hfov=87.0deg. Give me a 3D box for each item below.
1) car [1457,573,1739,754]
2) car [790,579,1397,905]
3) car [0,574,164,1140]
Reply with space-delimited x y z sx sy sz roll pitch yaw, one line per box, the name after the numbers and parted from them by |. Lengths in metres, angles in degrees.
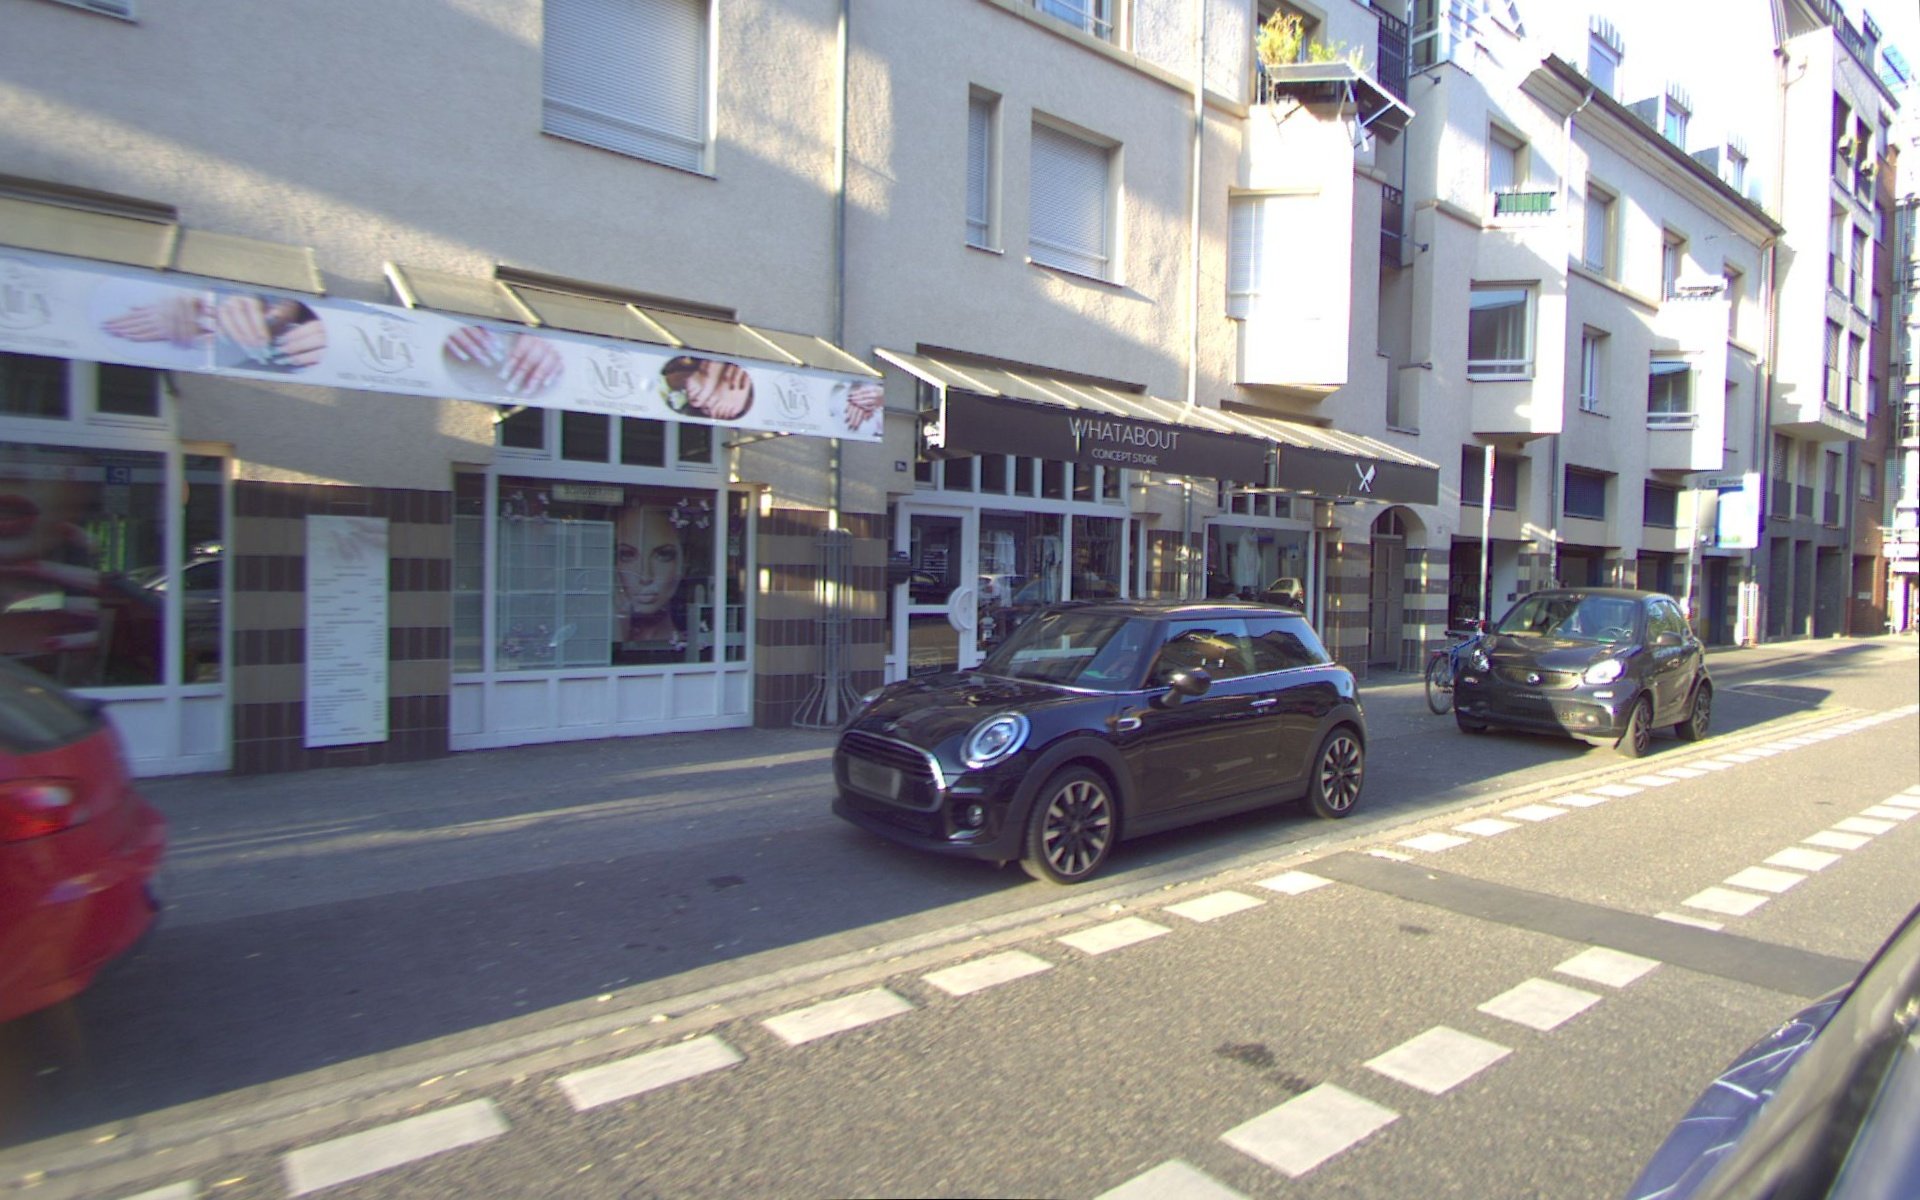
6.635 0.539 10.478 2.752 1.568 1.572 0 3 -38 | car
0.975 0.628 6.453 3.680 1.438 1.728 0 3 -38 | car
-4.369 0.676 2.319 3.958 1.438 1.728 0 3 -38 | car
